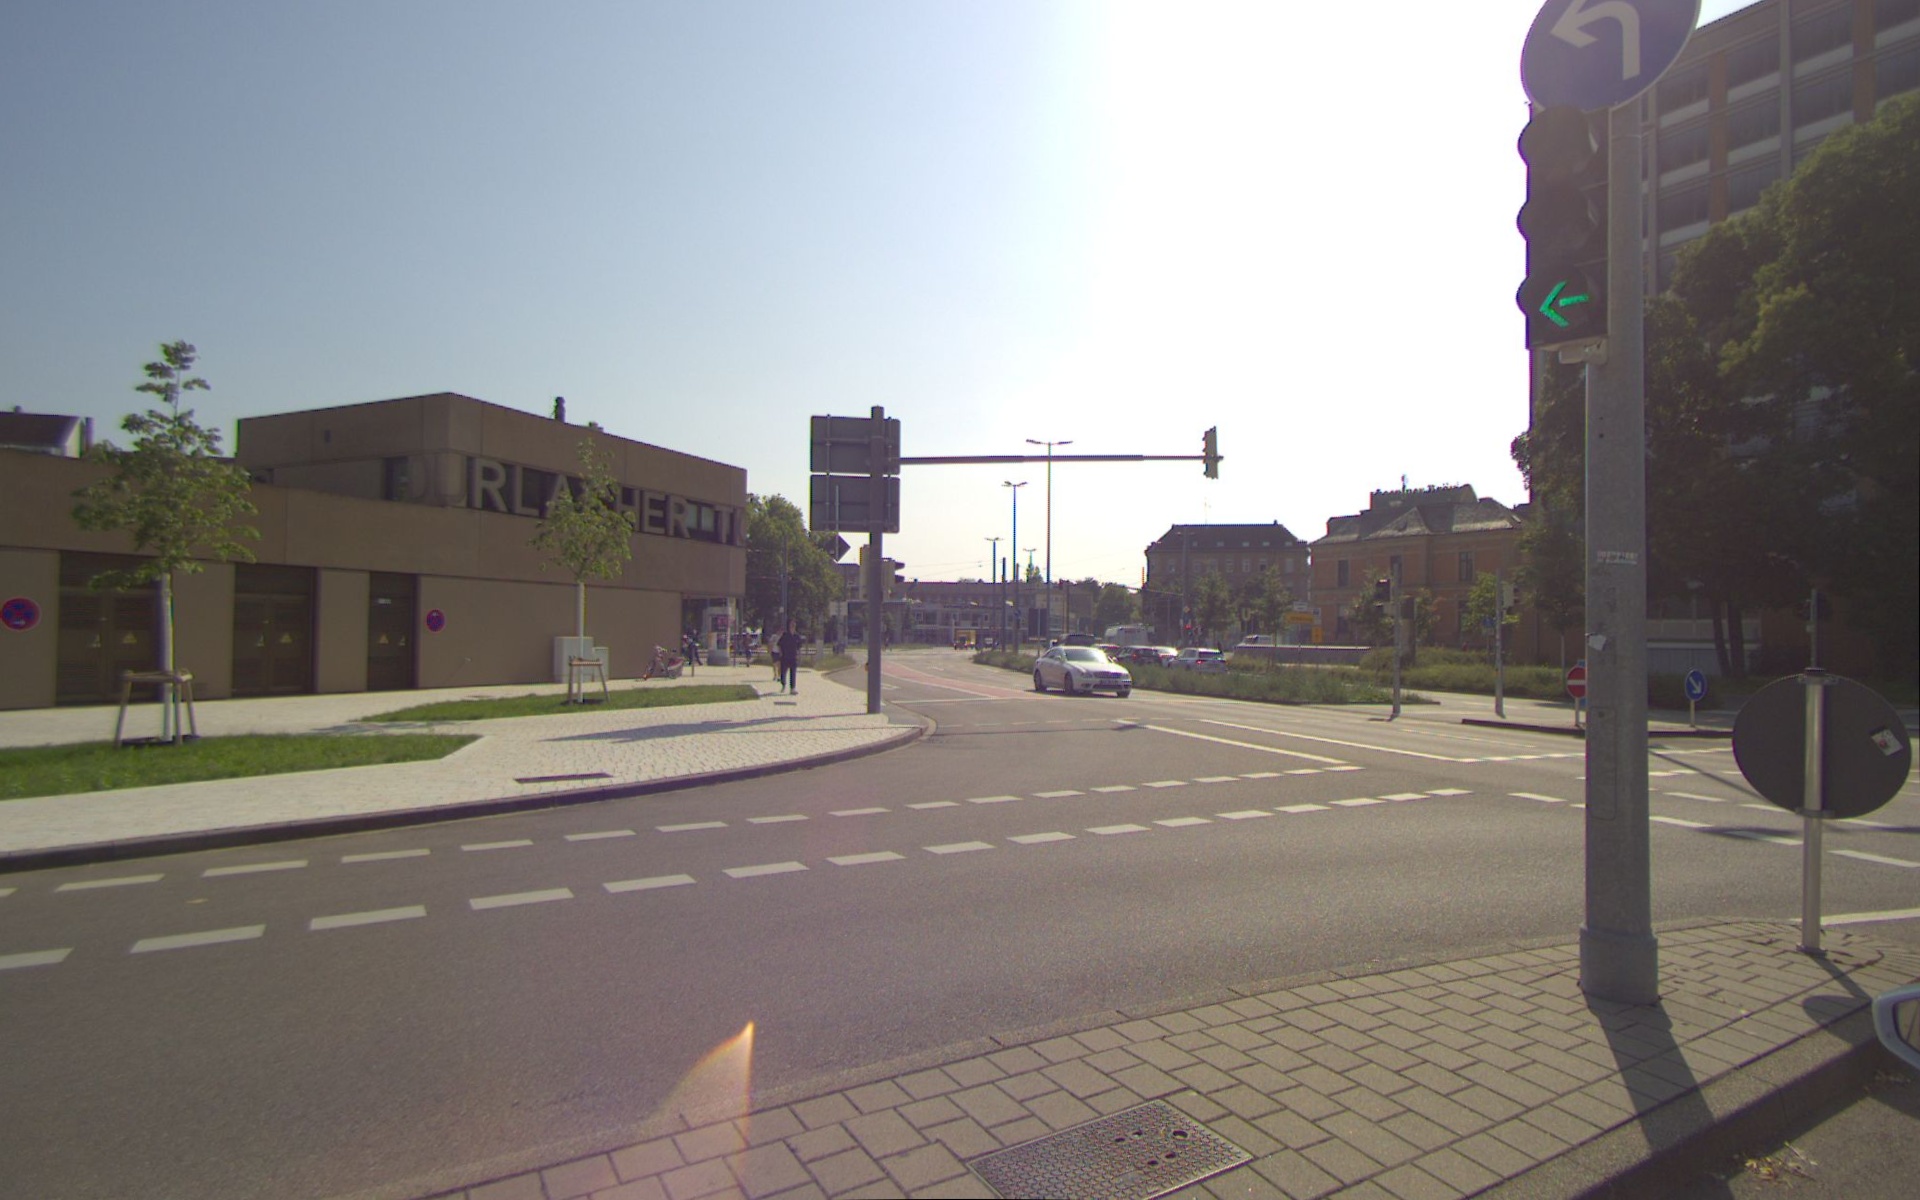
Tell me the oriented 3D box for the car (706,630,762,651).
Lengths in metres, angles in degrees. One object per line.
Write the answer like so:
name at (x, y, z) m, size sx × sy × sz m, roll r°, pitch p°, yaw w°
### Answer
car at (-23.627, 4.223, 105.177) m, size 5.477 × 2.040 × 1.991 m, roll 3°, pitch -2°, yaw -20°

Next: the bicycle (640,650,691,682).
bicycle at (-9.498, 2.121, 32.450) m, size 0.648 × 0.968 × 1.612 m, roll 2°, pitch -1°, yaw 24°

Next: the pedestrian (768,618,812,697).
pedestrian at (-4.197, 1.400, 24.802) m, size 0.721 × 1.864 × 1.074 m, roll 1°, pitch 0°, yaw -31°

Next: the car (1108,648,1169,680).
car at (8.429, 3.014, 47.778) m, size 1.676 × 1.386 × 3.958 m, roll 2°, pitch -3°, yaw -9°

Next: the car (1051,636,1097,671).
car at (6.886, 3.255, 61.149) m, size 1.991 × 2.034 × 4.683 m, roll 1°, pitch -3°, yaw -3°

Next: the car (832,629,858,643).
car at (-17.966, 5.557, 156.305) m, size 3.927 × 2.040 × 1.997 m, roll 2°, pitch 0°, yaw -8°

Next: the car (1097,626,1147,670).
car at (10.103, 3.021, 62.960) m, size 2.153 × 2.582 × 4.683 m, roll 1°, pitch -3°, yaw -3°

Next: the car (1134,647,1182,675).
car at (10.582, 3.269, 53.989) m, size 1.465 × 1.421 × 3.940 m, roll 2°, pitch -3°, yaw -5°

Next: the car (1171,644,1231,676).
car at (11.353, 2.834, 47.602) m, size 1.658 × 1.405 × 3.632 m, roll 2°, pitch -3°, yaw -5°

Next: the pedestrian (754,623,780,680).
pedestrian at (-6.394, 1.694, 33.318) m, size 0.686 × 1.857 × 0.566 m, roll 1°, pitch -2°, yaw -29°

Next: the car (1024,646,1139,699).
car at (3.521, 2.119, 30.088) m, size 1.817 × 1.379 × 4.806 m, roll 1°, pitch -2°, yaw -14°

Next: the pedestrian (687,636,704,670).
pedestrian at (-14.440, 2.894, 54.839) m, size 0.862 × 1.802 × 0.845 m, roll 2°, pitch 0°, yaw -15°

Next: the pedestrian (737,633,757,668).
pedestrian at (-10.945, 2.598, 51.603) m, size 0.673 × 1.783 × 0.869 m, roll 2°, pitch -3°, yaw -40°

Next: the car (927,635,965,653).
car at (-1.651, 5.177, 118.093) m, size 3.938 × 2.040 × 1.992 m, roll 1°, pitch -2°, yaw -19°
